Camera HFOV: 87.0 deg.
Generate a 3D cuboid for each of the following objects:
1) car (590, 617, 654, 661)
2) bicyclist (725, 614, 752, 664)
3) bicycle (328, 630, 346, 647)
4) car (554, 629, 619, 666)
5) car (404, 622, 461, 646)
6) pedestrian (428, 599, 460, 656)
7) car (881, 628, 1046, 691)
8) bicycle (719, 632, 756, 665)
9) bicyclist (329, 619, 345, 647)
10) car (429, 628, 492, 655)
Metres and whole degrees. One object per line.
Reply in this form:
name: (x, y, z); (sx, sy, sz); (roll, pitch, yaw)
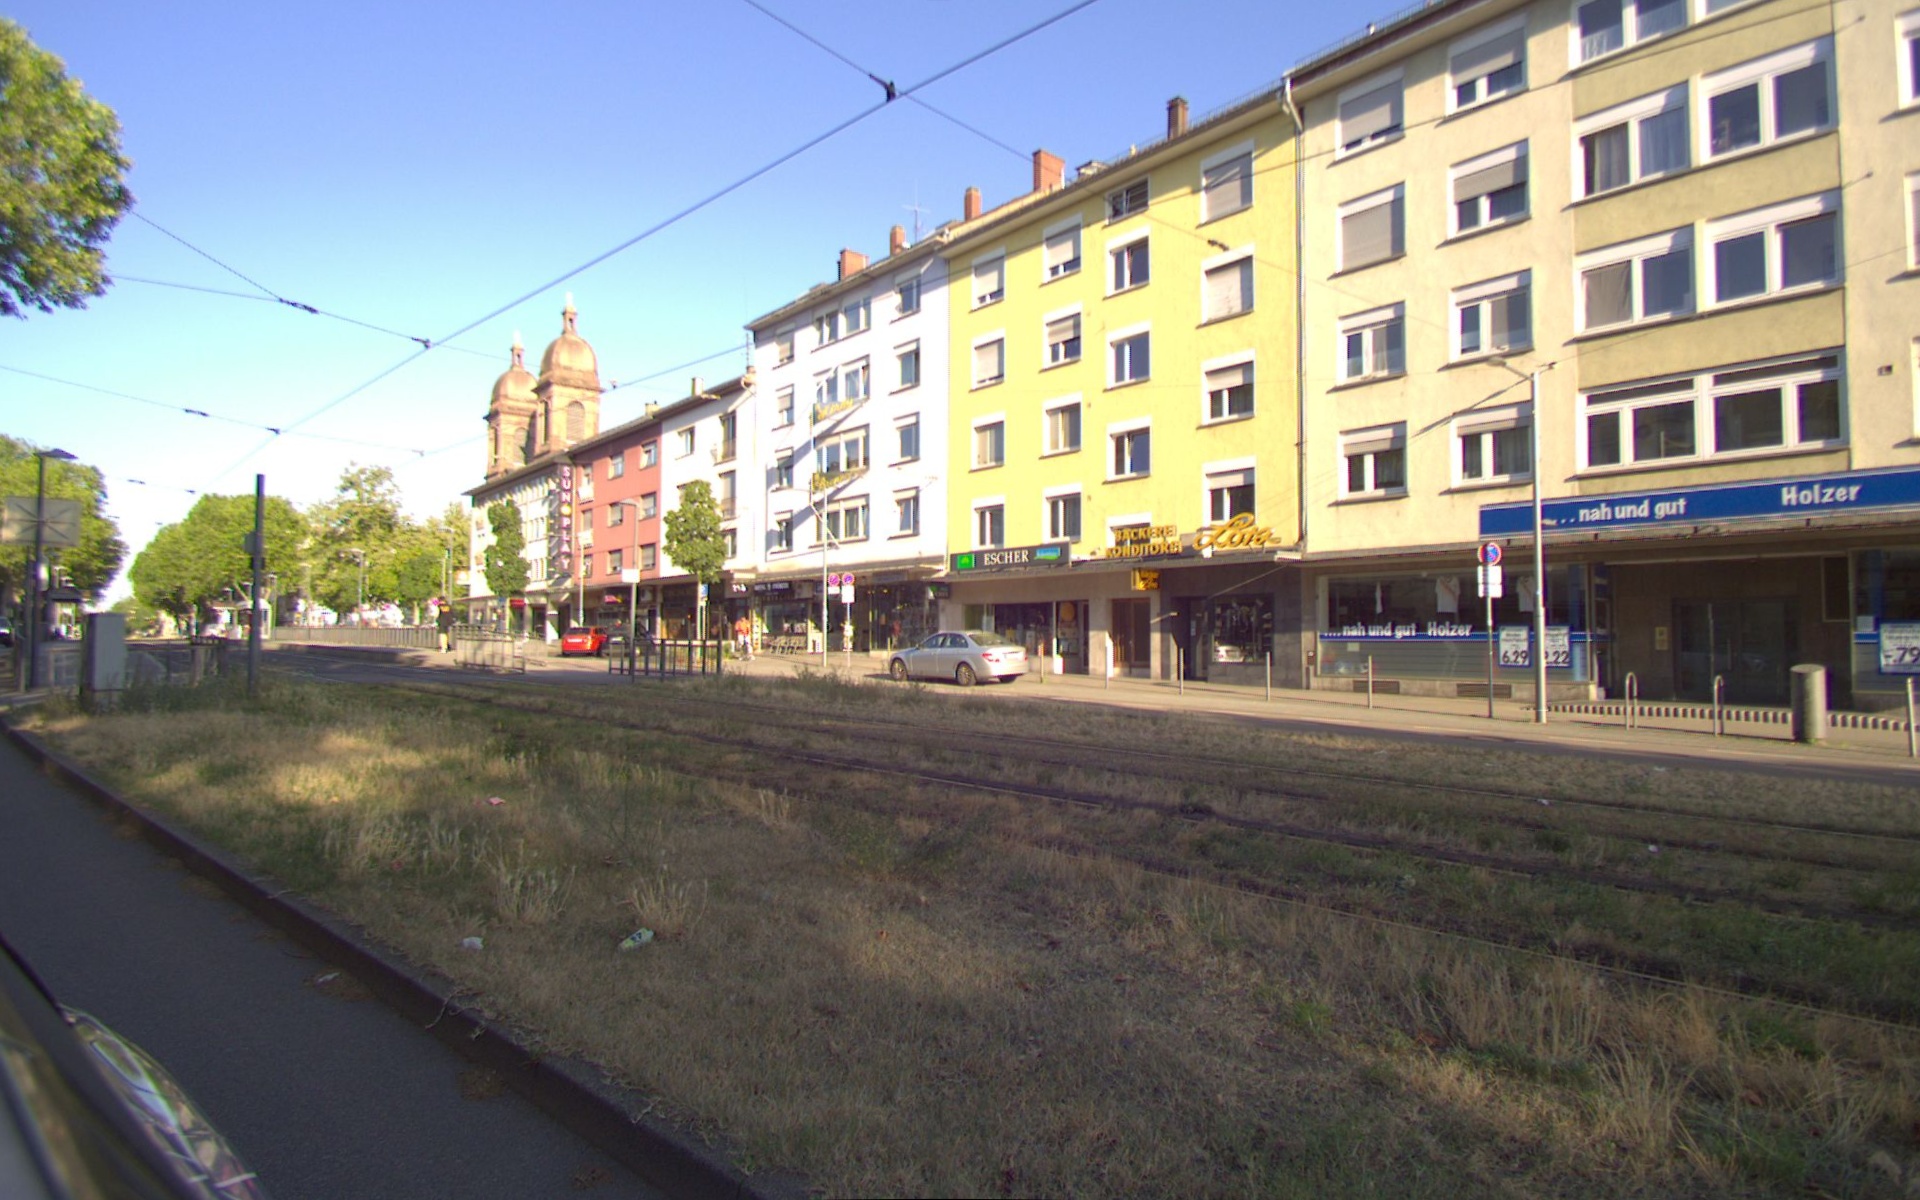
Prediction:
car: (-15.253, 1.722, 45.836); (1.836, 1.813, 3.773); (-1, 0, -3)
bicyclist: (-8.669, 1.530, 39.646); (0.683, 1.901, 1.060); (-1, 0, -32)
bicycle: (-45.871, 2.831, 74.526); (0.709, 1.239, 2.281); (3, -3, -42)
car: (-17.488, 2.174, 47.532); (1.836, 1.502, 3.773); (-1, 0, -3)
car: (-35.780, 2.292, 68.727); (1.720, 1.497, 3.998); (-1, 0, 1)
pedestrian: (-17.116, 0.930, 33.572); (0.590, 1.863, 0.733); (-2, -3, 43)
car: (0.026, 1.552, 27.578); (1.970, 1.489, 4.414); (-1, -1, -44)
bicycle: (-8.749, 1.900, 39.779); (0.696, 1.168, 2.205); (-1, 0, -33)
bicyclist: (-45.850, 2.452, 74.502); (0.754, 2.029, 0.912); (3, -3, -42)
car: (-31.122, 2.558, 63.186); (1.845, 1.541, 3.996); (-1, 0, 3)
